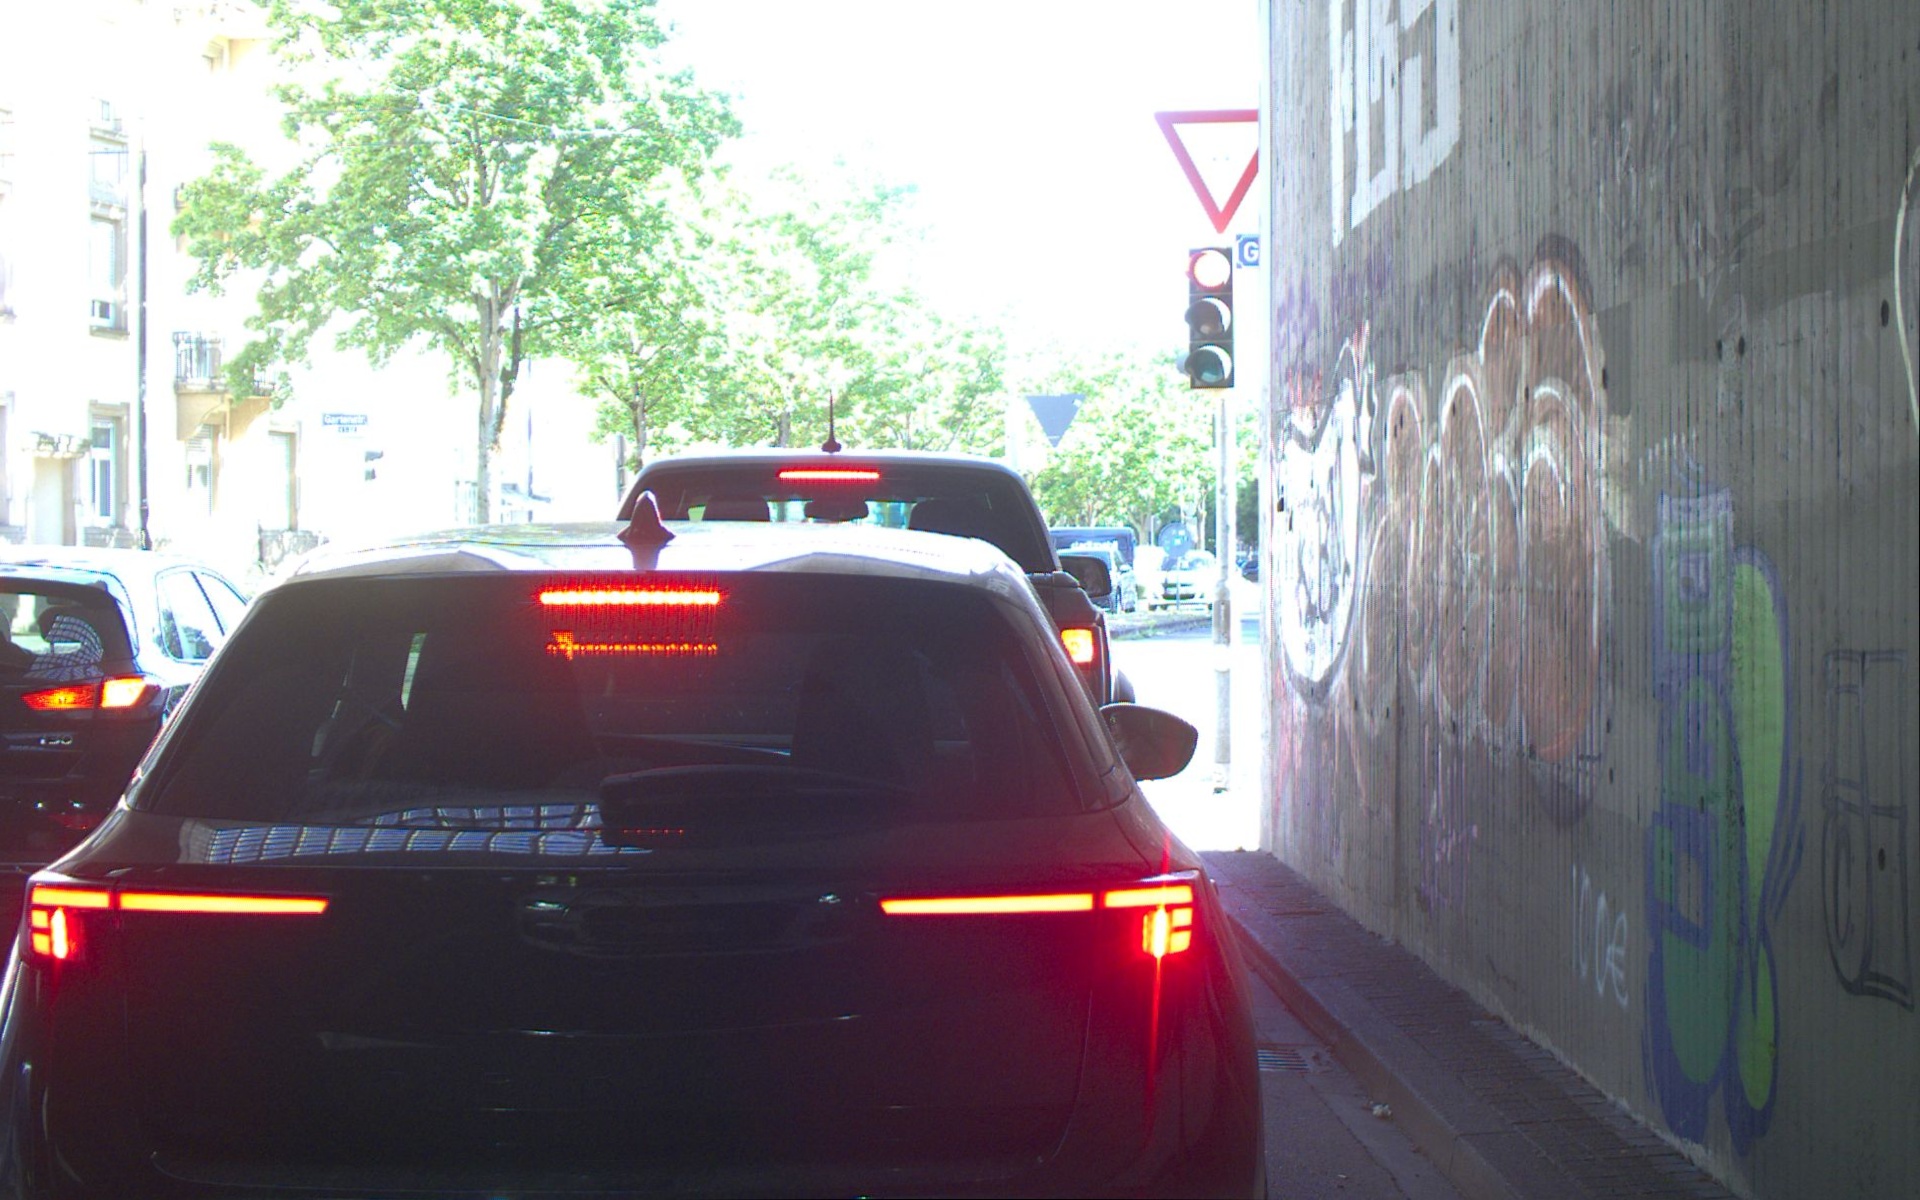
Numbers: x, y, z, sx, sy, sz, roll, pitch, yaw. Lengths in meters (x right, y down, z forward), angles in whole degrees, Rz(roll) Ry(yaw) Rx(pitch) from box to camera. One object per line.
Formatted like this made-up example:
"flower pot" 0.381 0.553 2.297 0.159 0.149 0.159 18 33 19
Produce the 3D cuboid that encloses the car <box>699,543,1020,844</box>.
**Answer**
"car" -0.528 0.437 19.262 1.609 1.508 4.054 0 1 -1

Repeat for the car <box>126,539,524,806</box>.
"car" -3.770 0.371 21.014 1.762 1.475 3.844 0 1 -1

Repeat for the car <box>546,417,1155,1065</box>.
"car" -0.342 0.375 12.042 1.762 1.876 4.146 0 1 -1

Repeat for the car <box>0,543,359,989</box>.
"car" -3.519 0.517 13.290 1.762 1.475 3.844 0 1 -1

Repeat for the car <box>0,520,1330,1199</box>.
"car" -0.470 0.637 6.102 1.762 1.526 4.089 0 1 -1

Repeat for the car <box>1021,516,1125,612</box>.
"car" 2.079 -0.650 62.198 1.754 1.661 3.944 1 1 3

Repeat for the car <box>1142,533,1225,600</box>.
"car" 5.714 -0.851 87.506 1.754 1.661 3.943 1 1 9

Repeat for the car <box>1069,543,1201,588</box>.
"car" 6.820 -1.344 133.777 4.798 1.661 1.824 1 1 -21

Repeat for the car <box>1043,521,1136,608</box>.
"car" 2.599 -0.704 68.317 1.754 1.661 3.944 1 1 3
